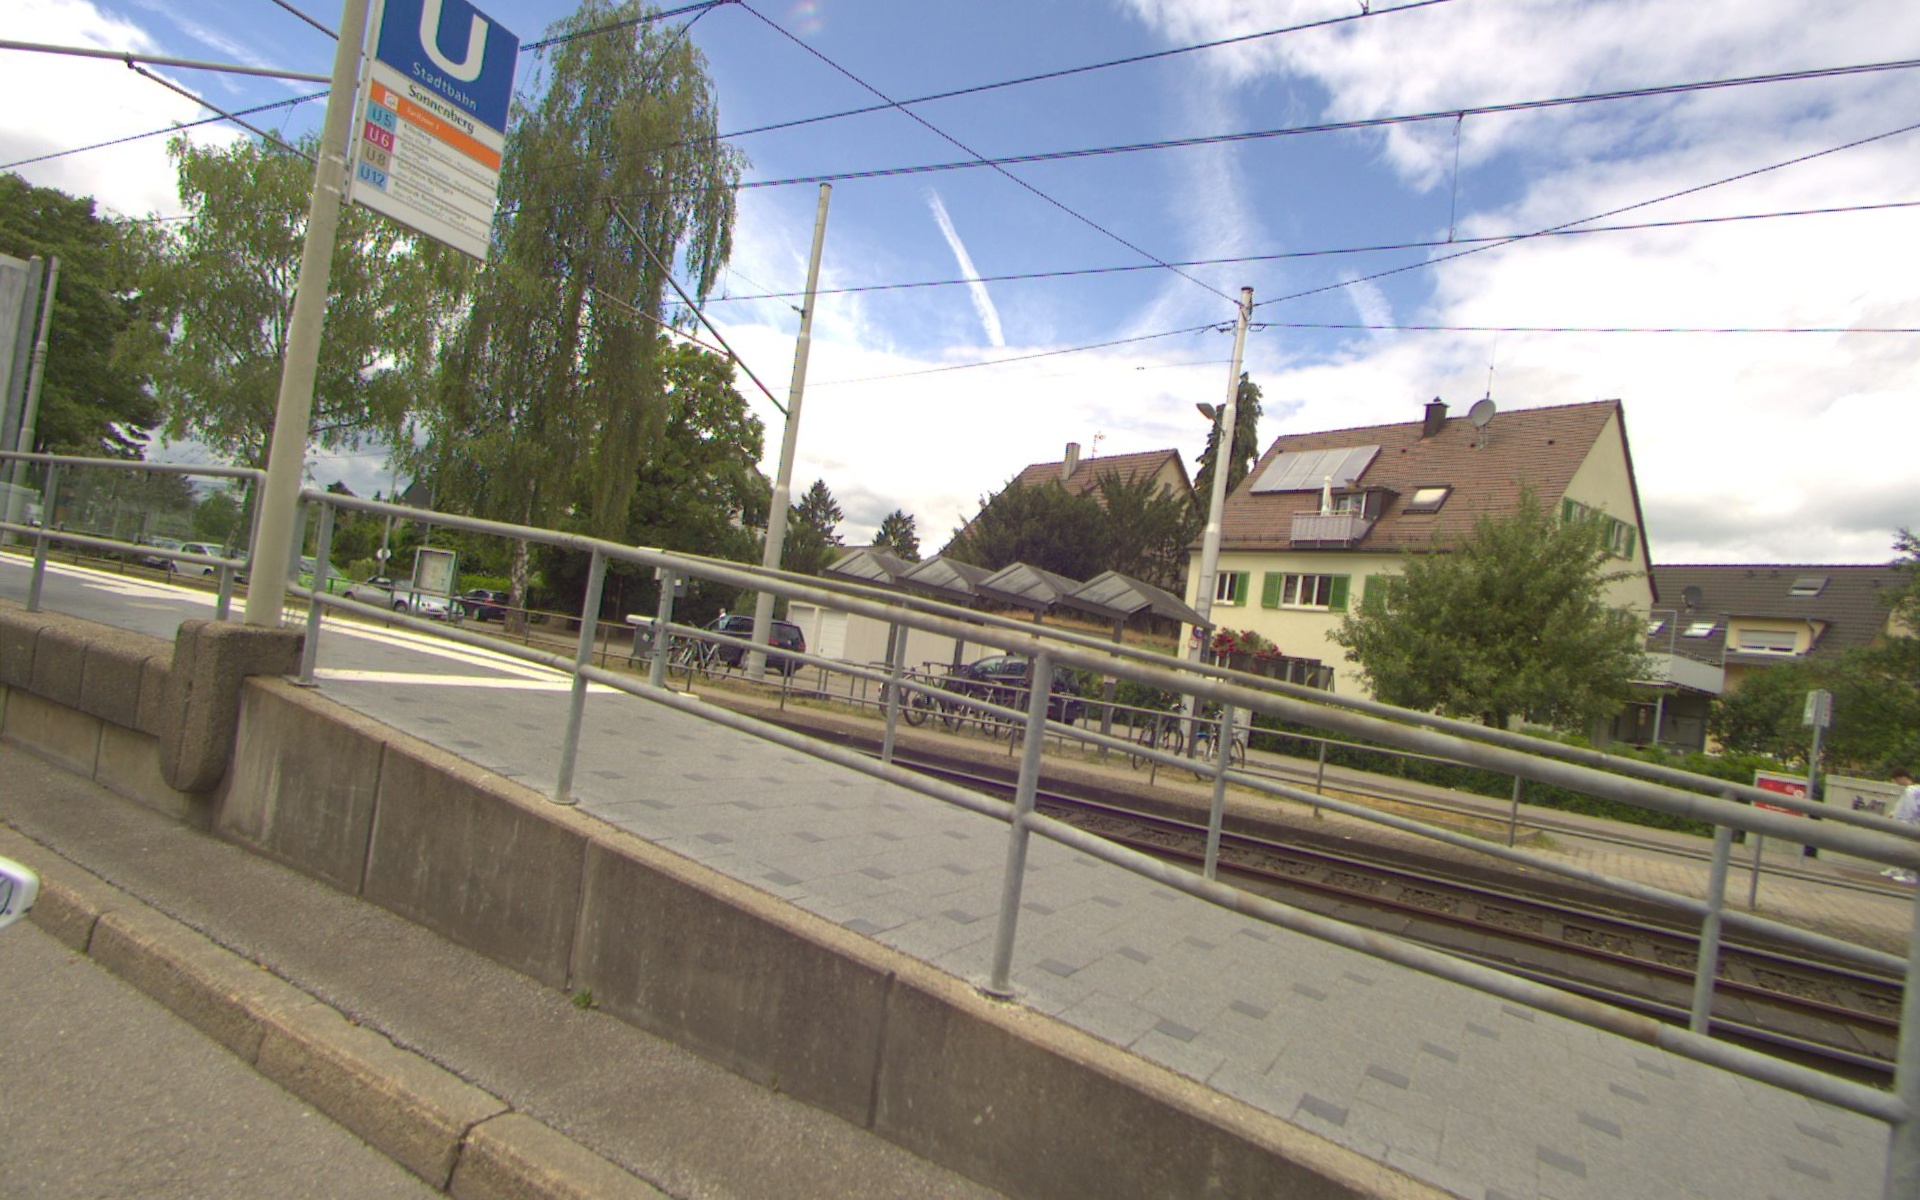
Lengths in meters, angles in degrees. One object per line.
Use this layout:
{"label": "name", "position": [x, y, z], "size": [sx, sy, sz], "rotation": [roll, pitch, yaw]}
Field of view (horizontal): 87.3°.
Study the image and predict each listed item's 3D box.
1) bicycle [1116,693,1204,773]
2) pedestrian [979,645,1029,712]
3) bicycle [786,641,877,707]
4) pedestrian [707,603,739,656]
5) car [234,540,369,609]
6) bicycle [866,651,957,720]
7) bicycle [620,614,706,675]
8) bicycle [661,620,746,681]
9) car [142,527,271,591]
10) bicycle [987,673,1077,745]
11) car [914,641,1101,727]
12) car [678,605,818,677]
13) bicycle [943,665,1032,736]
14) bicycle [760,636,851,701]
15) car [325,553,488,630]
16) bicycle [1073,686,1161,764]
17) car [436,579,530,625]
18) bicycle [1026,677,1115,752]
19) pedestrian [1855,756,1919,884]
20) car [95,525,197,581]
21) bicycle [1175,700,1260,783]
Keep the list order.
{"label": "bicycle", "position": [3.019, 1.989, 15.051], "size": [0.548, 1.053, 1.768], "rotation": [7, -3, 33]}
{"label": "pedestrian", "position": [1.222, 2.191, 27.957], "size": [0.932, 1.705, 0.810], "rotation": [7, -2, 27]}
{"label": "bicycle", "position": [-2.354, 1.387, 18.646], "size": [0.548, 1.053, 1.768], "rotation": [7, -3, 33]}
{"label": "pedestrian", "position": [-8.691, 1.074, 36.863], "size": [0.817, 1.791, 0.681], "rotation": [8, -2, -23]}
{"label": "car", "position": [-20.878, -0.810, 31.879], "size": [3.930, 1.591, 1.736], "rotation": [7, -2, 27]}
{"label": "bicycle", "position": [-0.827, 1.519, 17.707], "size": [0.548, 1.053, 1.768], "rotation": [7, -3, 33]}
{"label": "bicycle", "position": [-5.941, 0.906, 20.212], "size": [0.547, 1.053, 1.772], "rotation": [7, -3, 23]}
{"label": "bicycle", "position": [-5.123, 1.029, 20.194], "size": [0.547, 1.053, 1.772], "rotation": [7, -3, 24]}
{"label": "car", "position": [-25.409, -1.389, 33.902], "size": [4.028, 1.591, 1.762], "rotation": [7, -2, 27]}
{"label": "bicycle", "position": [1.198, 1.795, 16.365], "size": [0.548, 1.053, 1.768], "rotation": [7, -3, 33]}
{"label": "car", "position": [1.126, 2.087, 25.359], "size": [4.358, 1.502, 1.816], "rotation": [6, -3, 40]}
{"label": "car", "position": [-6.870, 1.275, 32.274], "size": [4.775, 1.654, 1.814], "rotation": [6, -3, 43]}
{"label": "bicycle", "position": [0.488, 1.713, 16.890], "size": [0.548, 1.053, 1.768], "rotation": [7, -3, 33]}
{"label": "bicycle", "position": [-2.896, 1.308, 19.033], "size": [0.548, 1.053, 1.768], "rotation": [7, -3, 33]}
{"label": "car", "position": [-16.207, -0.250, 29.467], "size": [4.186, 1.591, 2.070], "rotation": [7, -2, 27]}
{"label": "bicycle", "position": [2.434, 1.930, 15.445], "size": [0.548, 1.053, 1.768], "rotation": [7, -3, 33]}
{"label": "car", "position": [-20.988, 0.080, 44.172], "size": [4.859, 1.505, 1.756], "rotation": [5, -3, 40]}
{"label": "bicycle", "position": [1.781, 1.834, 15.977], "size": [0.548, 1.053, 1.768], "rotation": [7, -3, 33]}
{"label": "pedestrian", "position": [15.576, 3.628, 16.587], "size": [0.815, 1.937, 0.626], "rotation": [9, -1, 10]}
{"label": "car", "position": [-29.601, -1.717, 36.542], "size": [4.435, 1.505, 1.841], "rotation": [6, -3, 39]}
{"label": "bicycle", "position": [3.756, 2.046, 14.557], "size": [0.548, 1.053, 1.768], "rotation": [7, -3, 33]}
